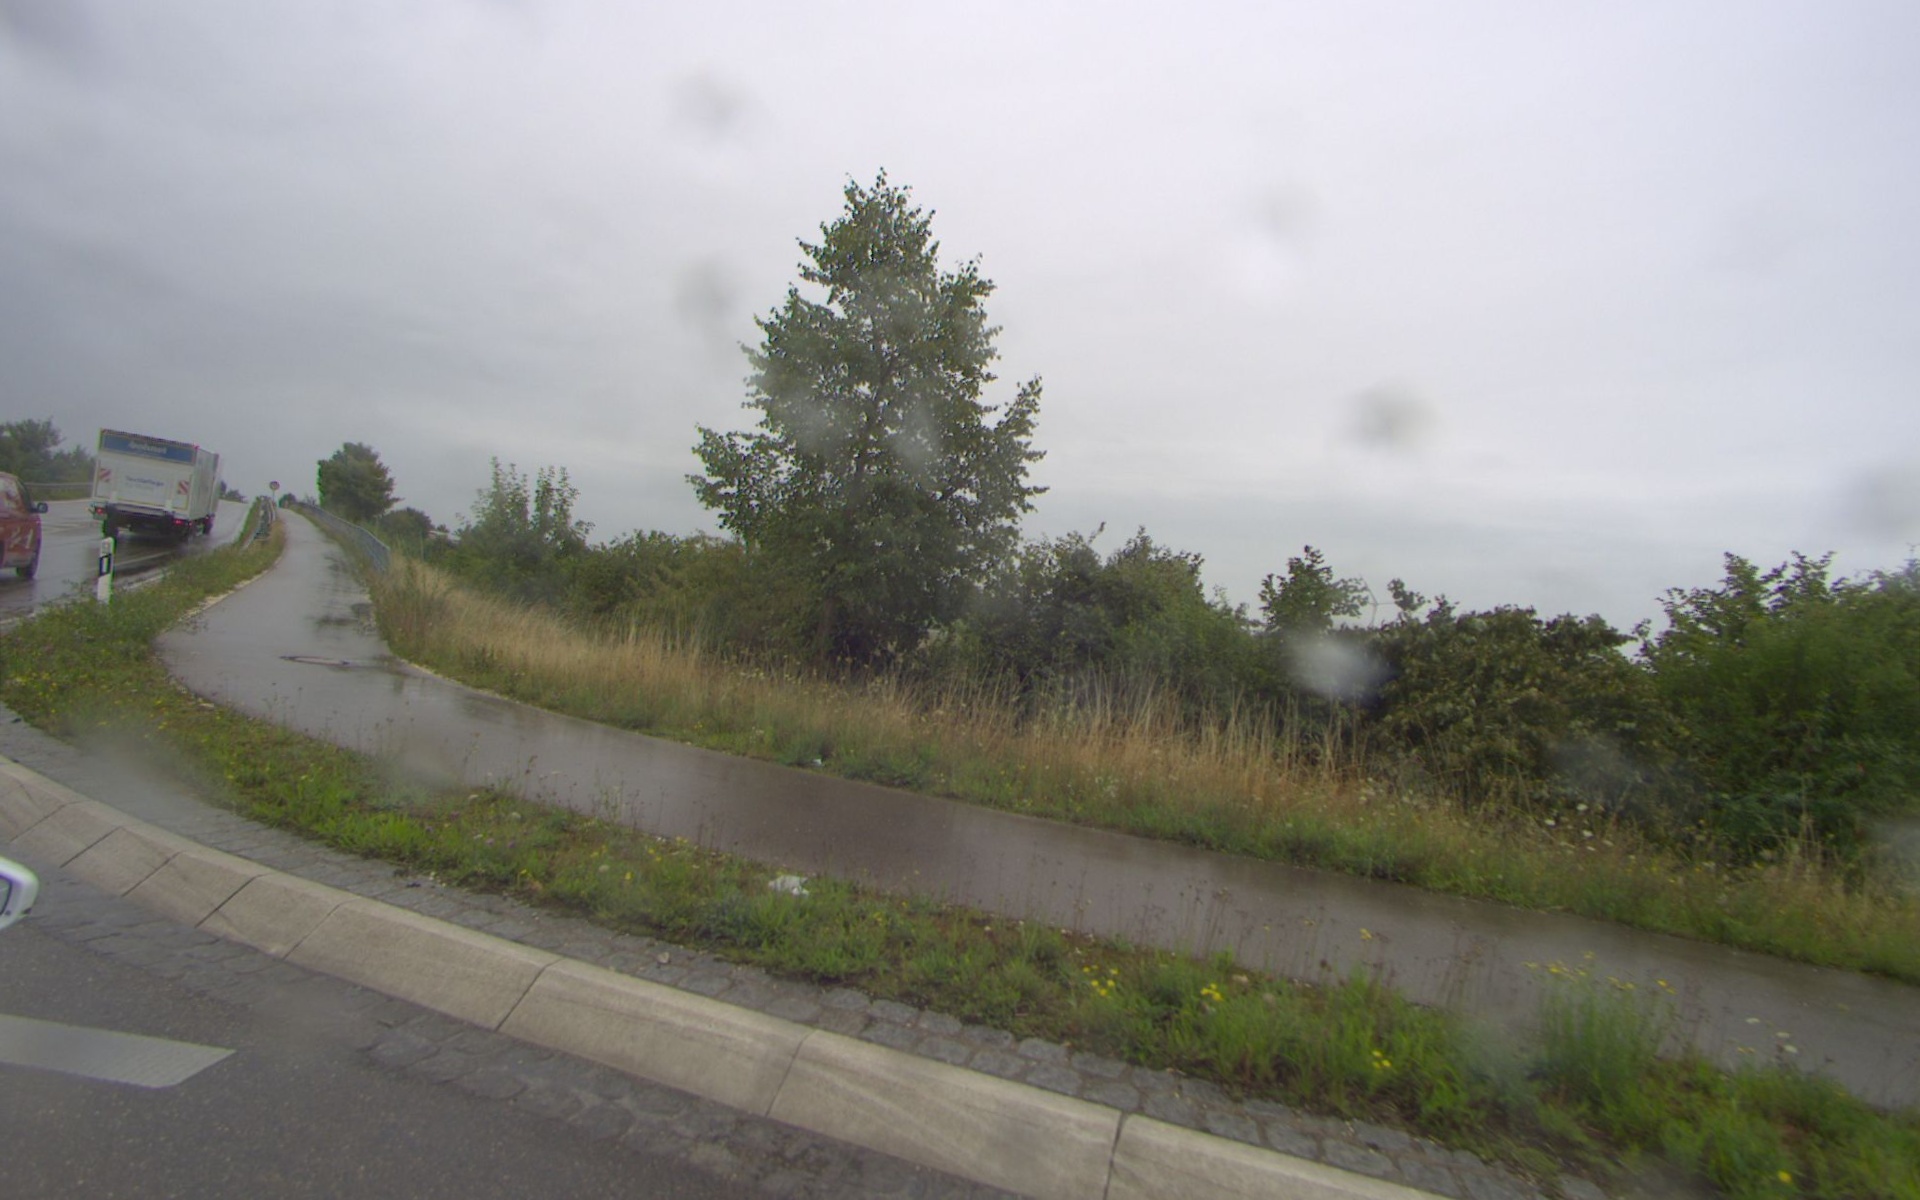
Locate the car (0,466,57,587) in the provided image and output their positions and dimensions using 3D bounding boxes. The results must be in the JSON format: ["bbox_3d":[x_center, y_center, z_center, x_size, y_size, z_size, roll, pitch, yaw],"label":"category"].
[{"bbox_3d":[-17.449,-1.446,17.428,1.982,1.894,4.928,6,2,-35],"label":"car"}]

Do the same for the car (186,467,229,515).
[{"bbox_3d":[-53.512,-7.693,71.601,1.983,2.977,3.962,8,0,-35],"label":"car"}]

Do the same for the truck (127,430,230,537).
[{"bbox_3d":[-33.959,-4.981,43.971,2.782,3.867,7.615,7,1,-34],"label":"truck"}]

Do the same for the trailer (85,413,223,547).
[{"bbox_3d":[-29.190,-4.231,36.840,2.814,3.867,9.623,7,1,-34],"label":"trailer"}]
